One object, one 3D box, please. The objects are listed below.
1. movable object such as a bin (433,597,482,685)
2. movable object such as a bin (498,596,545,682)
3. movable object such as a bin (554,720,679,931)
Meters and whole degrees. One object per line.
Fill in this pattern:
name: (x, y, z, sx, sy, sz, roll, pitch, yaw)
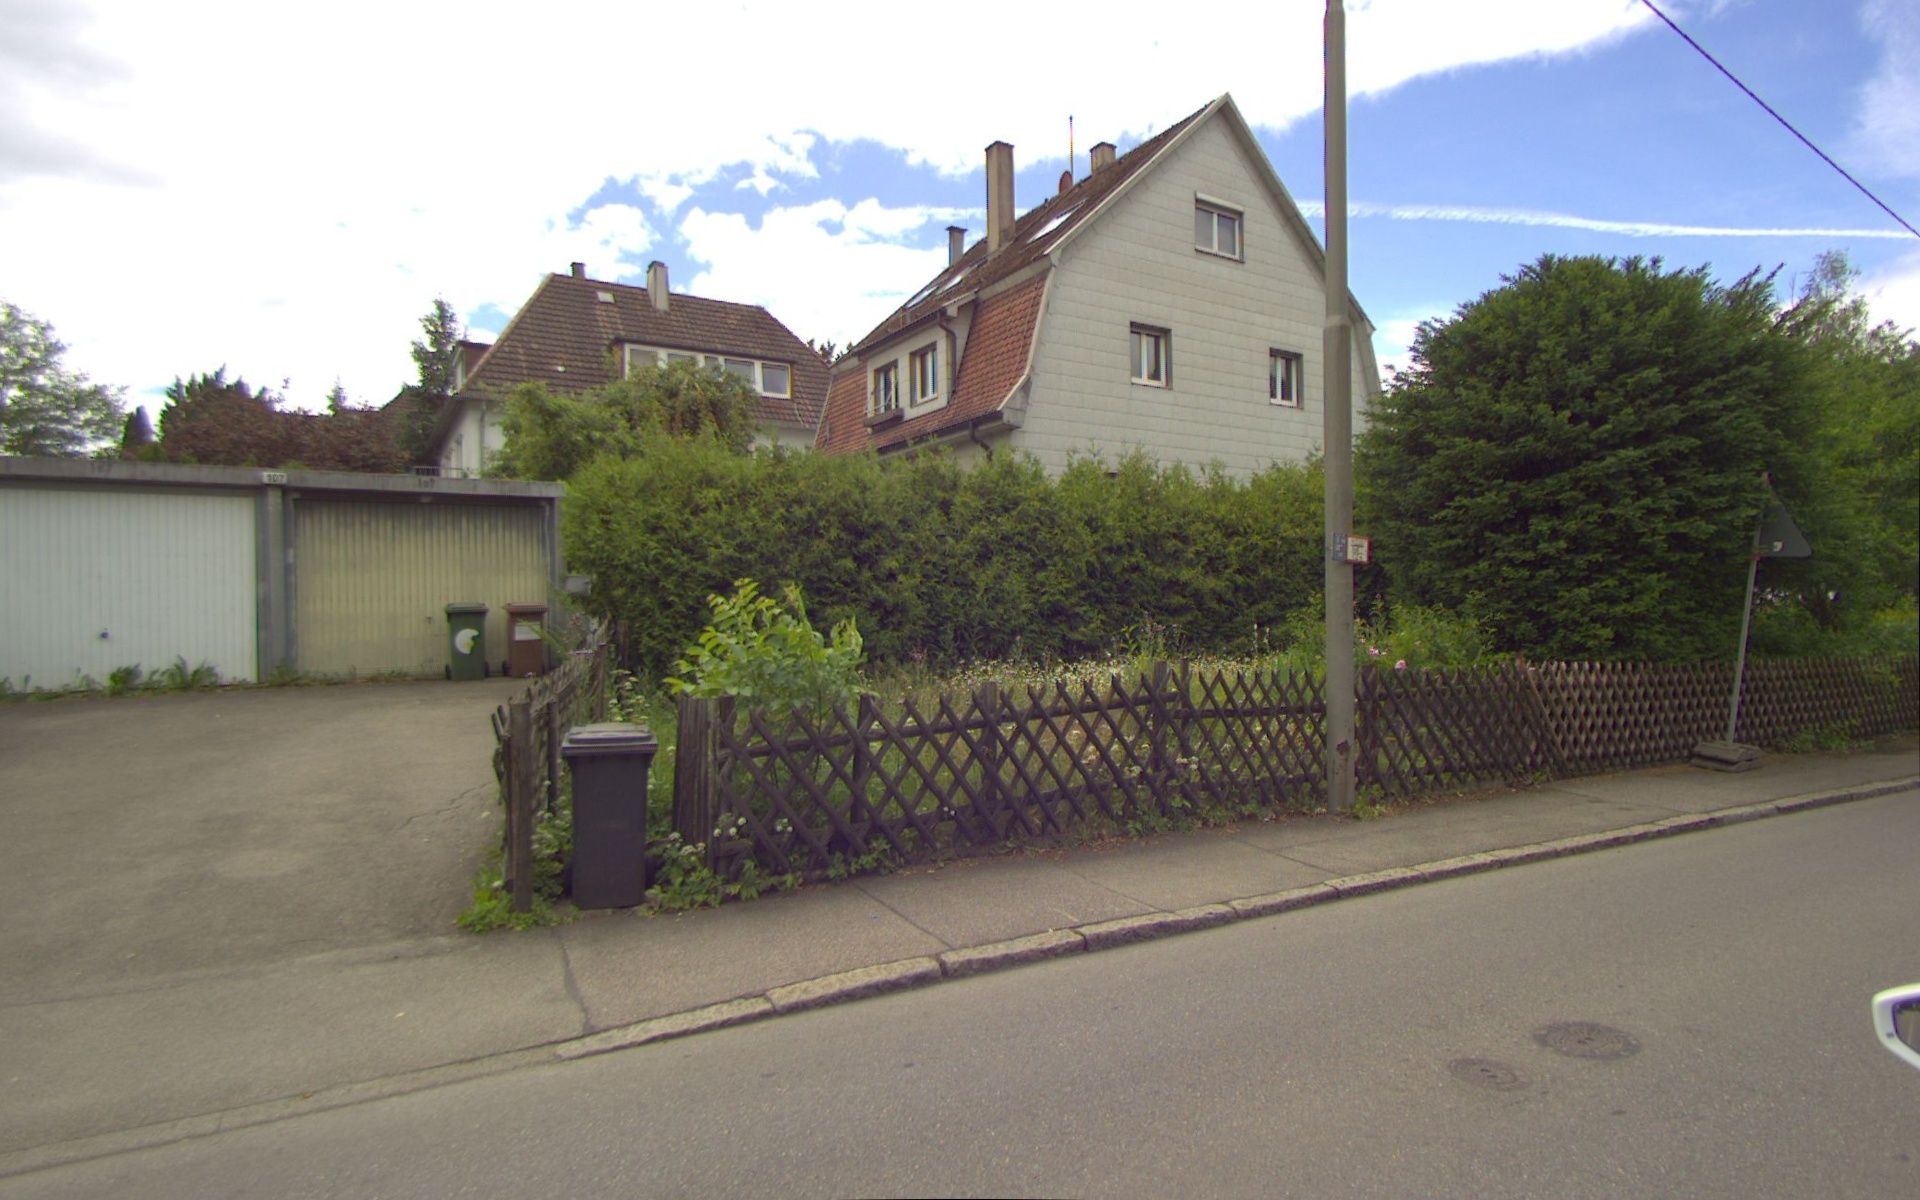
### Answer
movable object such as a bin: (-6.081, 0.484, 12.159, 0.494, 1.027, 0.490, -1, 1, -27)
movable object such as a bin: (-5.453, 0.475, 12.493, 0.494, 1.027, 0.490, -1, 1, -27)
movable object such as a bin: (-1.801, 1.137, 5.245, 0.531, 0.950, 0.548, 1, -1, -28)
